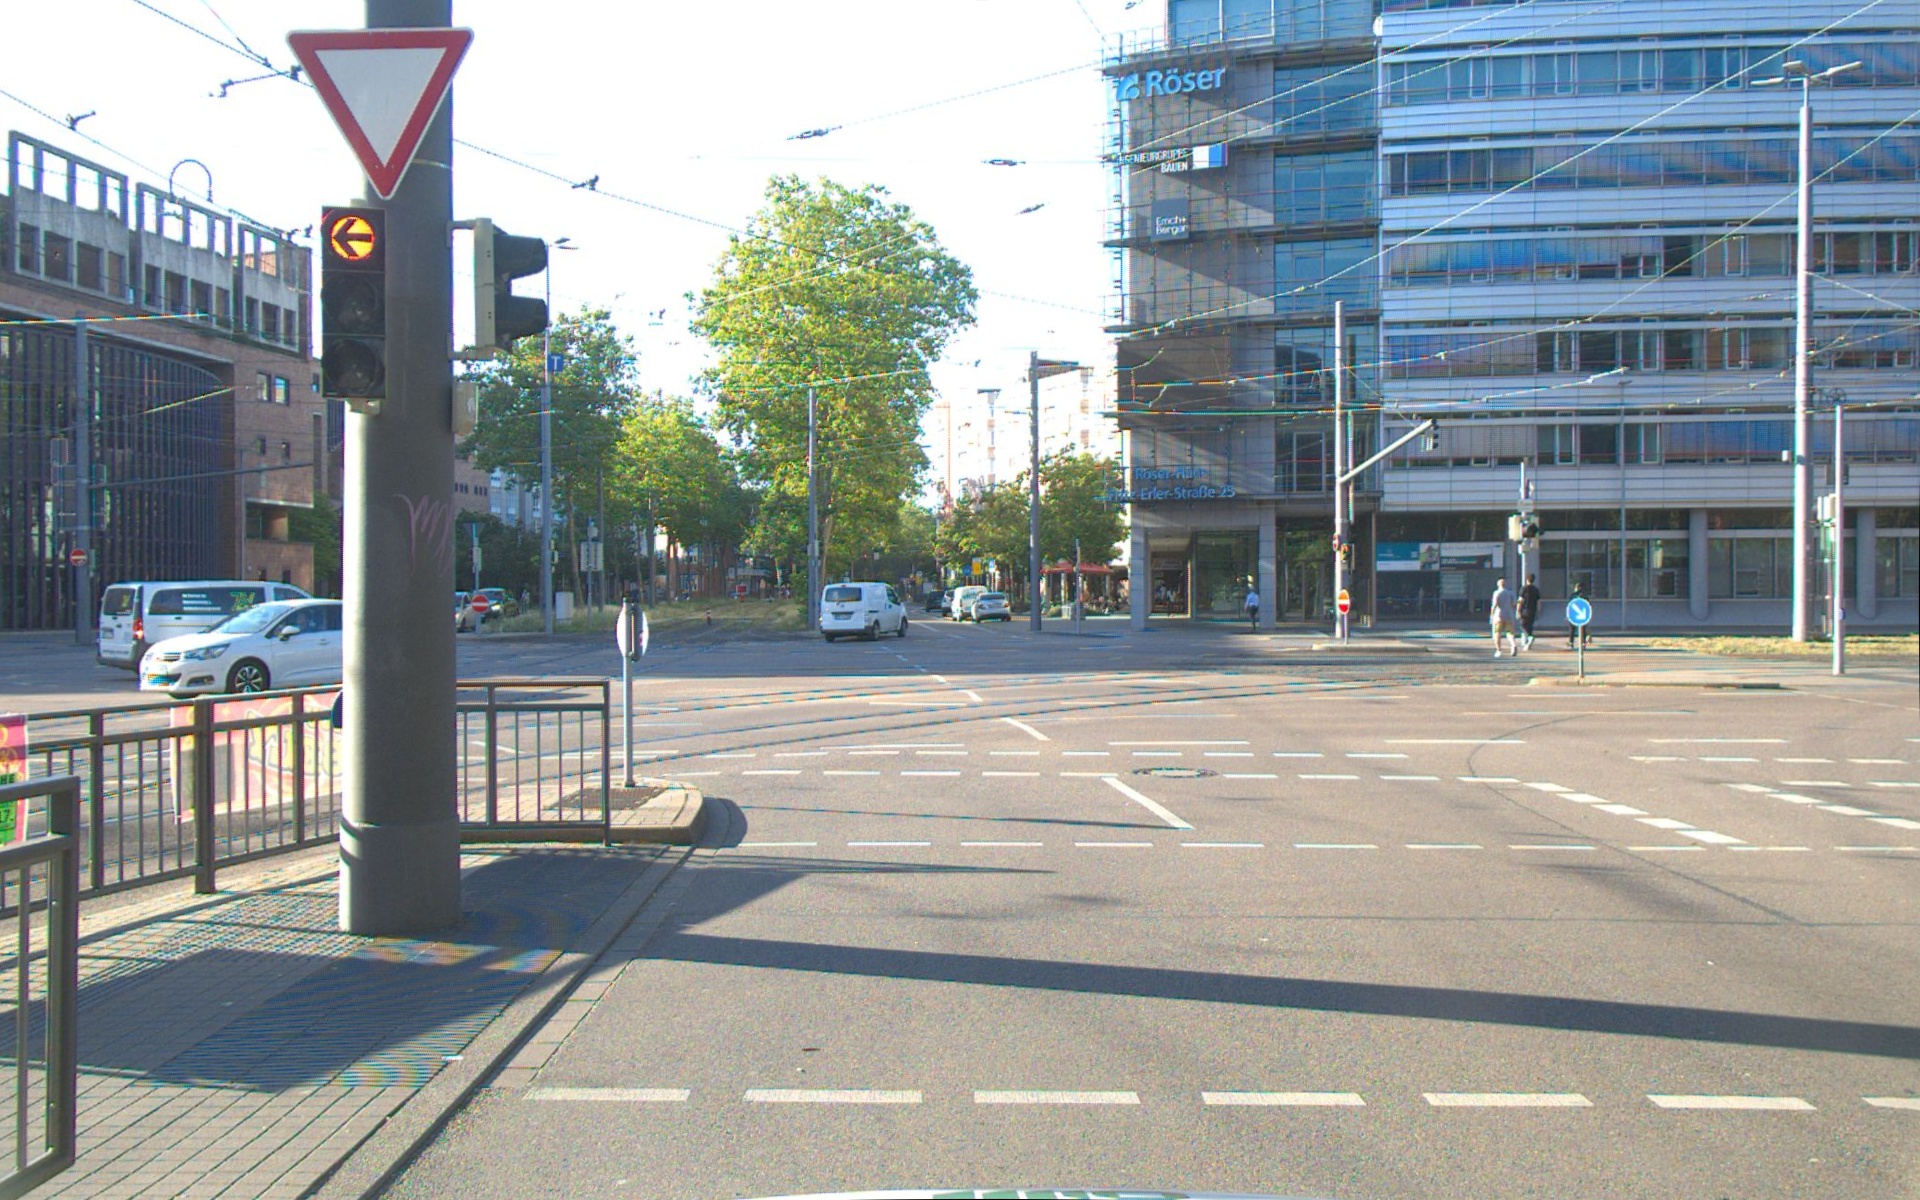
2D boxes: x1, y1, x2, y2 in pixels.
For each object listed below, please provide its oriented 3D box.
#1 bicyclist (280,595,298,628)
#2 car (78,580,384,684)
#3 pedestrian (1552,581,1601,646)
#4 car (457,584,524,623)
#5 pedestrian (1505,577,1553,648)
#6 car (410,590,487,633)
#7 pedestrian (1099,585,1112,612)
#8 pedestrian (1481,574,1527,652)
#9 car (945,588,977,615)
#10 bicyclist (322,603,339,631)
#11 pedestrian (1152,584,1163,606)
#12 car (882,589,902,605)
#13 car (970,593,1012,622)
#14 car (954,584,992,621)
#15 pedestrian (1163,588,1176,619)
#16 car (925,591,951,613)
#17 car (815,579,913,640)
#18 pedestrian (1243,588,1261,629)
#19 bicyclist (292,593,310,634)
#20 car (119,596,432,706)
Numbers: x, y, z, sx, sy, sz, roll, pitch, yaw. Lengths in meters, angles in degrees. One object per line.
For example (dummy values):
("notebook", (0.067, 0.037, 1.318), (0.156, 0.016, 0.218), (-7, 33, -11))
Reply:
("bicyclist", (-27.666, 0.473, 68.239), (0.495, 1.327, 0.581), (-1, 0, -1))
("car", (-14.399, 0.564, 32.954), (1.931, 1.881, 5.301), (-1, 0, 40))
("pedestrian", (15.211, 0.323, 40.835), (0.928, 1.591, 0.897), (-1, 0, 6))
("car", (-21.125, 0.145, 74.590), (1.953, 1.668, 3.999), (-1, 0, -2))
("pedestrian", (14.056, 0.306, 40.905), (0.893, 1.714, 1.036), (-1, 0, 6))
("car", (-20.671, 0.445, 67.031), (1.953, 1.668, 3.999), (-1, 0, -2))
("pedestrian", (9.235, -0.091, 105.121), (0.729, 1.744, 0.612), (-1, 0, -1))
("pedestrian", (12.863, 0.293, 39.117), (0.845, 1.820, 0.872), (-1, 0, 5))
("car", (0.031, 0.075, 105.206), (1.953, 1.646, 3.999), (-1, 0, -1))
("bicyclist", (-27.071, 0.737, 71.158), (0.495, 1.199, 0.581), (-1, 0, -1))
("pedestrian", (15.561, -0.416, 130.177), (0.729, 1.744, 0.612), (-1, 0, -1))
("car", (-6.318, -0.277, 154.661), (1.761, 1.467, 3.999), (-1, 0, -1))
("car", (1.532, 0.340, 82.784), (1.953, 1.400, 3.999), (-1, 0, -1))
("car", (0.683, 0.120, 89.570), (1.953, 1.892, 3.999), (-1, 0, -1))
("pedestrian", (10.467, 0.171, 82.671), (0.599, 1.534, 0.579), (-1, 0, 7))
("car", (-1.684, 0.136, 126.630), (1.953, 1.646, 3.999), (-1, 0, -1))
("car", (-3.089, 0.294, 54.043), (1.718, 1.899, 4.528), (-1, 0, 17))
("pedestrian", (10.949, 0.316, 62.013), (0.599, 1.534, 0.579), (-1, 0, 1))
("bicyclist", (-26.011, 0.532, 65.301), (0.449, 1.631, 0.581), (-1, 0, -1))
("car", (-10.530, 0.727, 25.745), (1.724, 1.514, 4.298), (-1, 0, 32))
